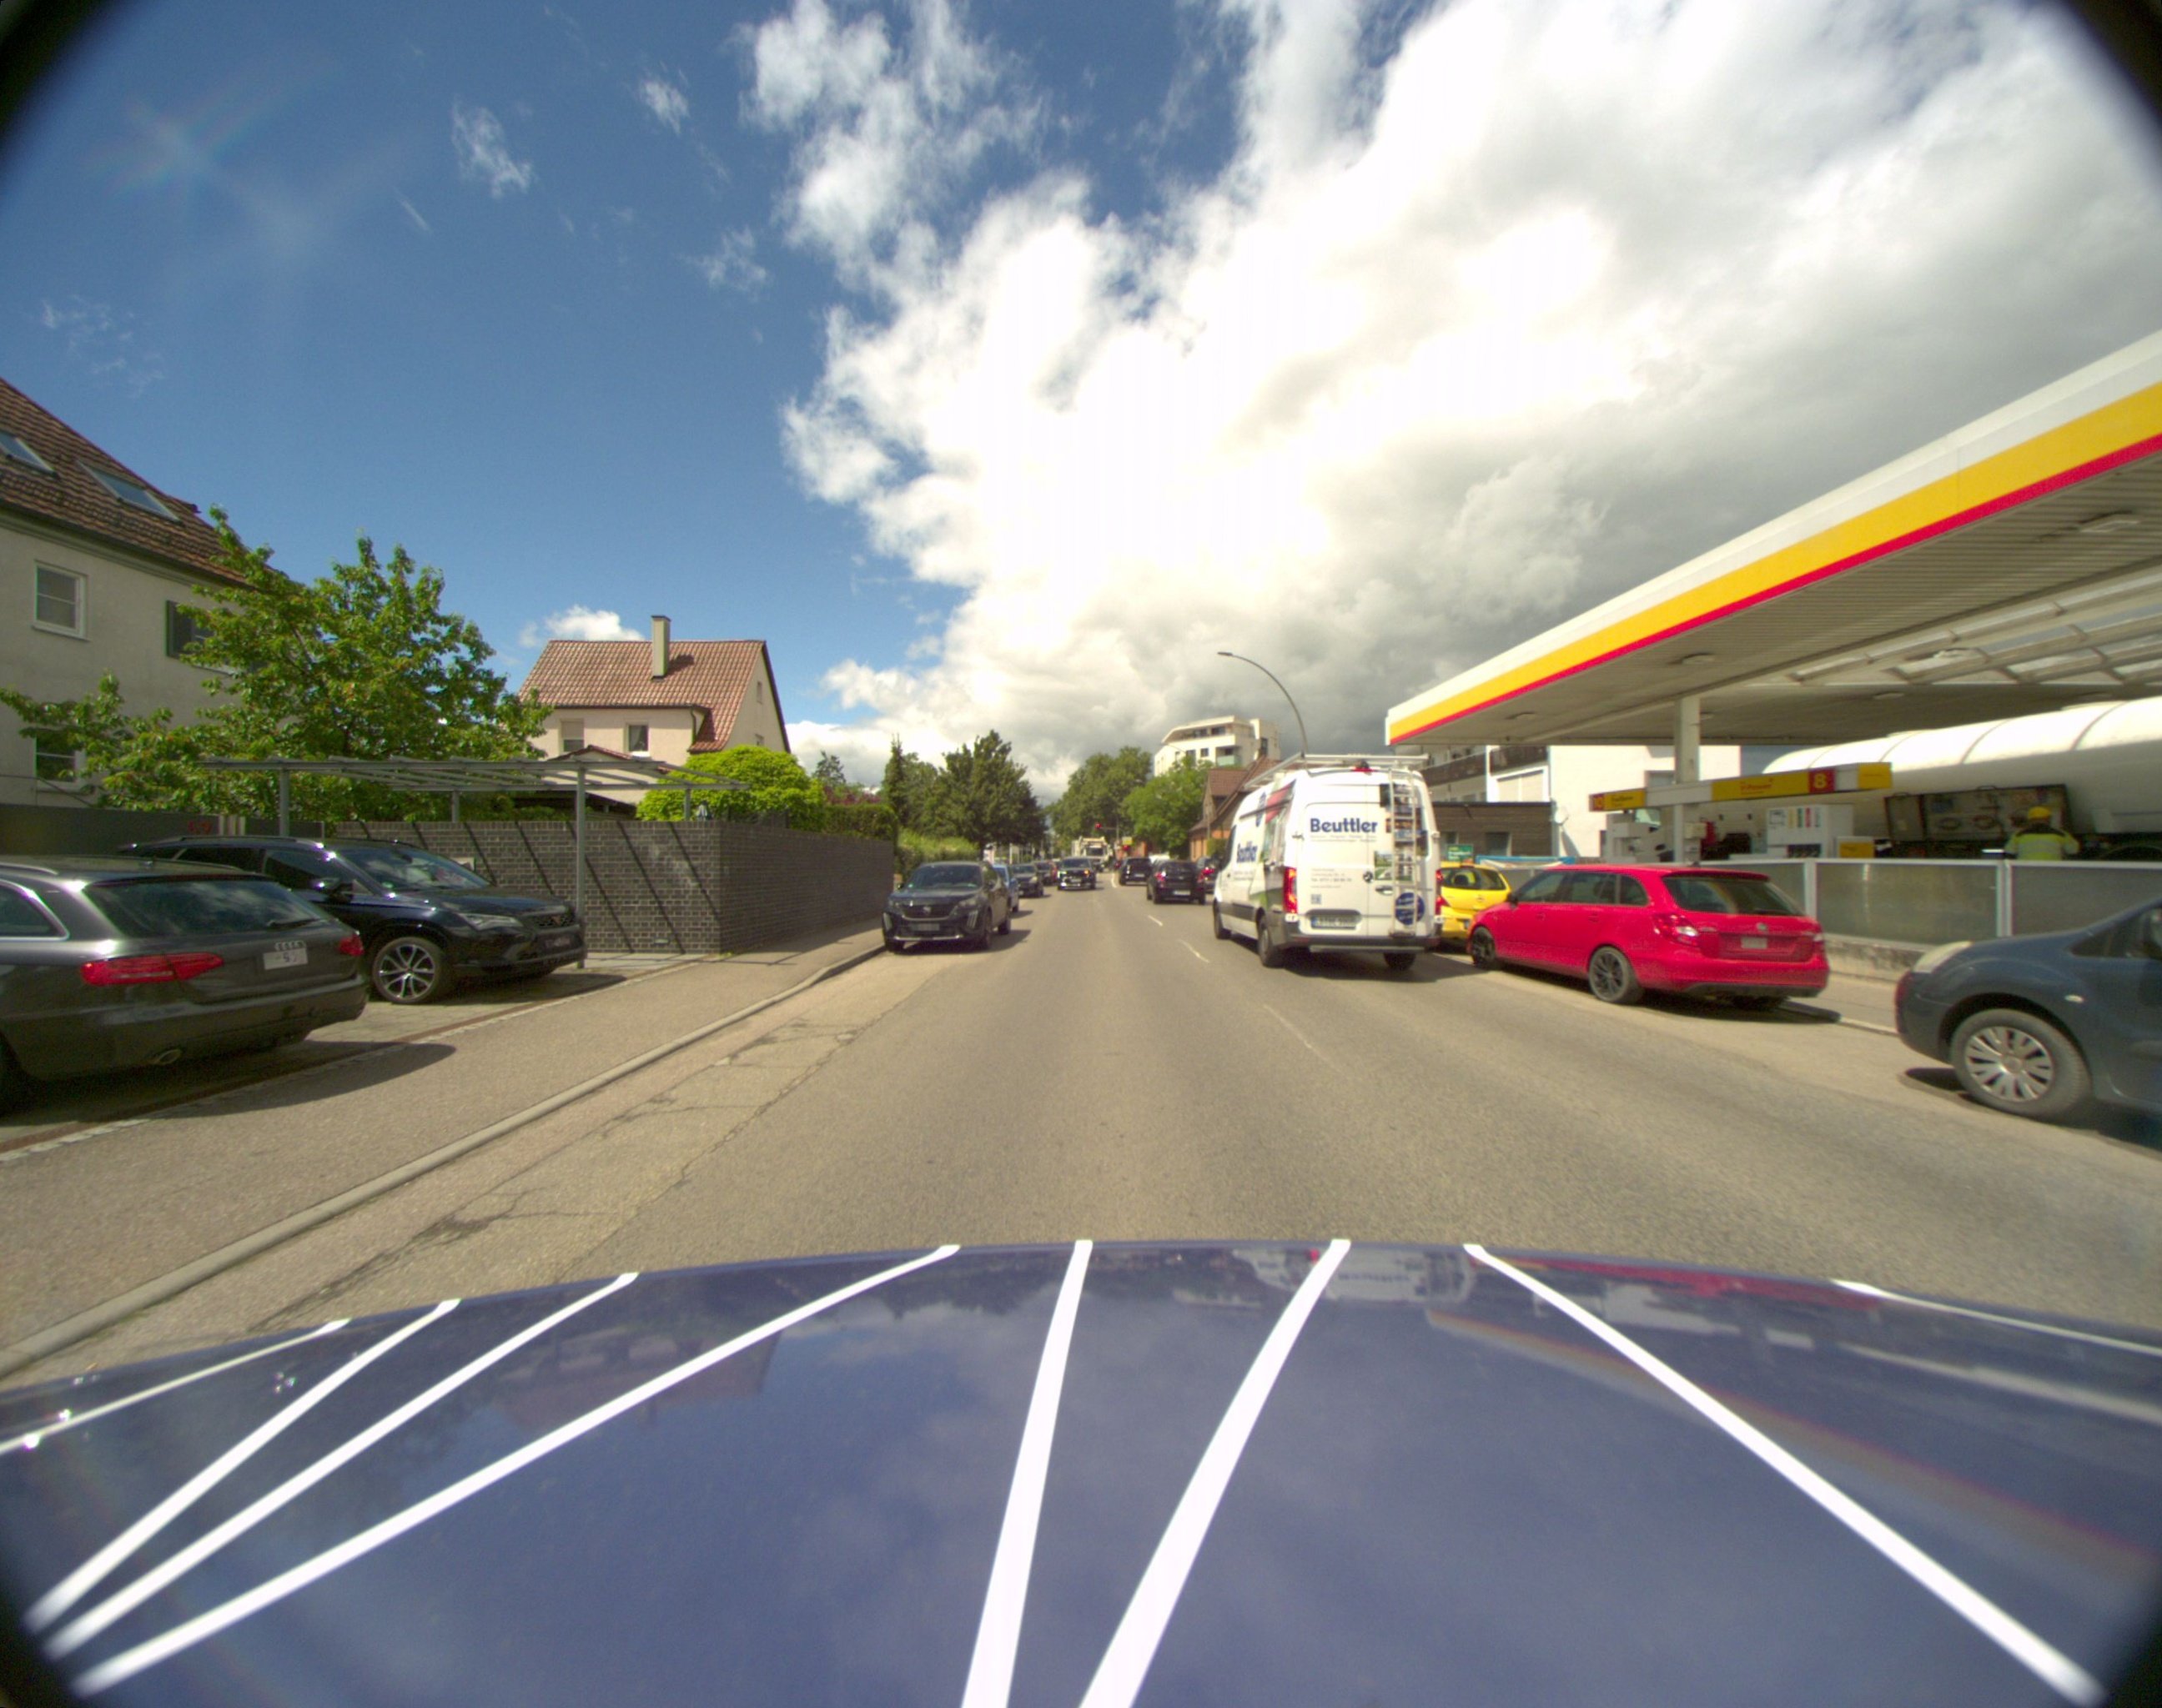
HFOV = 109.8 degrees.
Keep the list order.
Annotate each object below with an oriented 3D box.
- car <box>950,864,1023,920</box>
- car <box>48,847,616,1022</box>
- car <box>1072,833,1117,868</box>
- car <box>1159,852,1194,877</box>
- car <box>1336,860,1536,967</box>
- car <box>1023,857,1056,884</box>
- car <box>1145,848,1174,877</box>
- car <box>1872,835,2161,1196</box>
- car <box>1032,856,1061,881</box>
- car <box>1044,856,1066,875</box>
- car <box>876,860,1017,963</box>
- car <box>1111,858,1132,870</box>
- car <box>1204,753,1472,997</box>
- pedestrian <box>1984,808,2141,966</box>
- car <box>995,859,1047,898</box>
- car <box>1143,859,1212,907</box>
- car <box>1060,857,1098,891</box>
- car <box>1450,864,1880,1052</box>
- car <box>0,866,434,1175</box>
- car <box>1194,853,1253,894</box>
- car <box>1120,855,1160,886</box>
[{"bbox_3d":[-2.612,1.022,21.695,1.576,1.423,3.548,0,0,1],"label":"car"},{"bbox_3d":[-7.478,0.752,7.972,4.014,1.605,1.854,1,0,-3],"label":"car"},{"bbox_3d":[1.398,-0.375,85.625,3.265,3.596,10.260,-1,0,-9],"label":"car"},{"bbox_3d":[6.329,0.751,50.806,1.789,1.493,4.536,-1,-2,0],"label":"car"},{"bbox_3d":[6.041,0.920,13.499,1.667,1.506,3.945,3,0,1],"label":"car"},{"bbox_3d":[-2.521,0.987,47.194,1.789,1.555,3.879,-1,0,0],"label":"car"},{"bbox_3d":[6.346,0.755,61.828,1.789,2.166,4.536,-1,-2,0],"label":"car"},{"bbox_3d":[6.077,0.821,2.857,1.733,1.727,4.189,3,0,0],"label":"car"},{"bbox_3d":[-2.366,0.969,52.819,1.789,1.555,3.879,-1,0,0],"label":"car"},{"bbox_3d":[-2.259,1.019,67.630,1.789,1.555,3.879,-1,0,0],"label":"car"},{"bbox_3d":[-2.339,0.949,14.359,1.789,1.548,4.316,-1,0,1],"label":"car"},{"bbox_3d":[4.935,1.219,93.286,1.818,1.313,3.996,0,0,-9],"label":"car"},{"bbox_3d":[3.437,0.234,11.775,1.997,2.749,6.163,1,0,0],"label":"car"},{"bbox_3d":[14.273,0.462,11.088,0.940,2.166,1.011,-2,1,-1],"label":"pedestrian"},{"bbox_3d":[-2.468,0.982,31.861,1.789,1.436,3.772,-1,0,1],"label":"car"},{"bbox_3d":[3.232,0.949,26.137,1.852,1.465,3.981,1,0,0],"label":"car"},{"bbox_3d":[-0.110,0.969,38.410,1.789,1.555,3.879,-1,0,0],"label":"car"},{"bbox_3d":[6.174,0.948,8.800,1.667,1.506,4.189,3,0,0],"label":"car"},{"bbox_3d":[-7.144,0.831,4.723,4.419,1.399,1.974,3,0,-3],"label":"car"},{"bbox_3d":[6.416,0.928,34.573,1.789,1.694,4.536,-1,-2,0],"label":"car"},{"bbox_3d":[3.352,0.901,43.983,2.064,1.700,4.535,-1,0,2],"label":"car"}]
